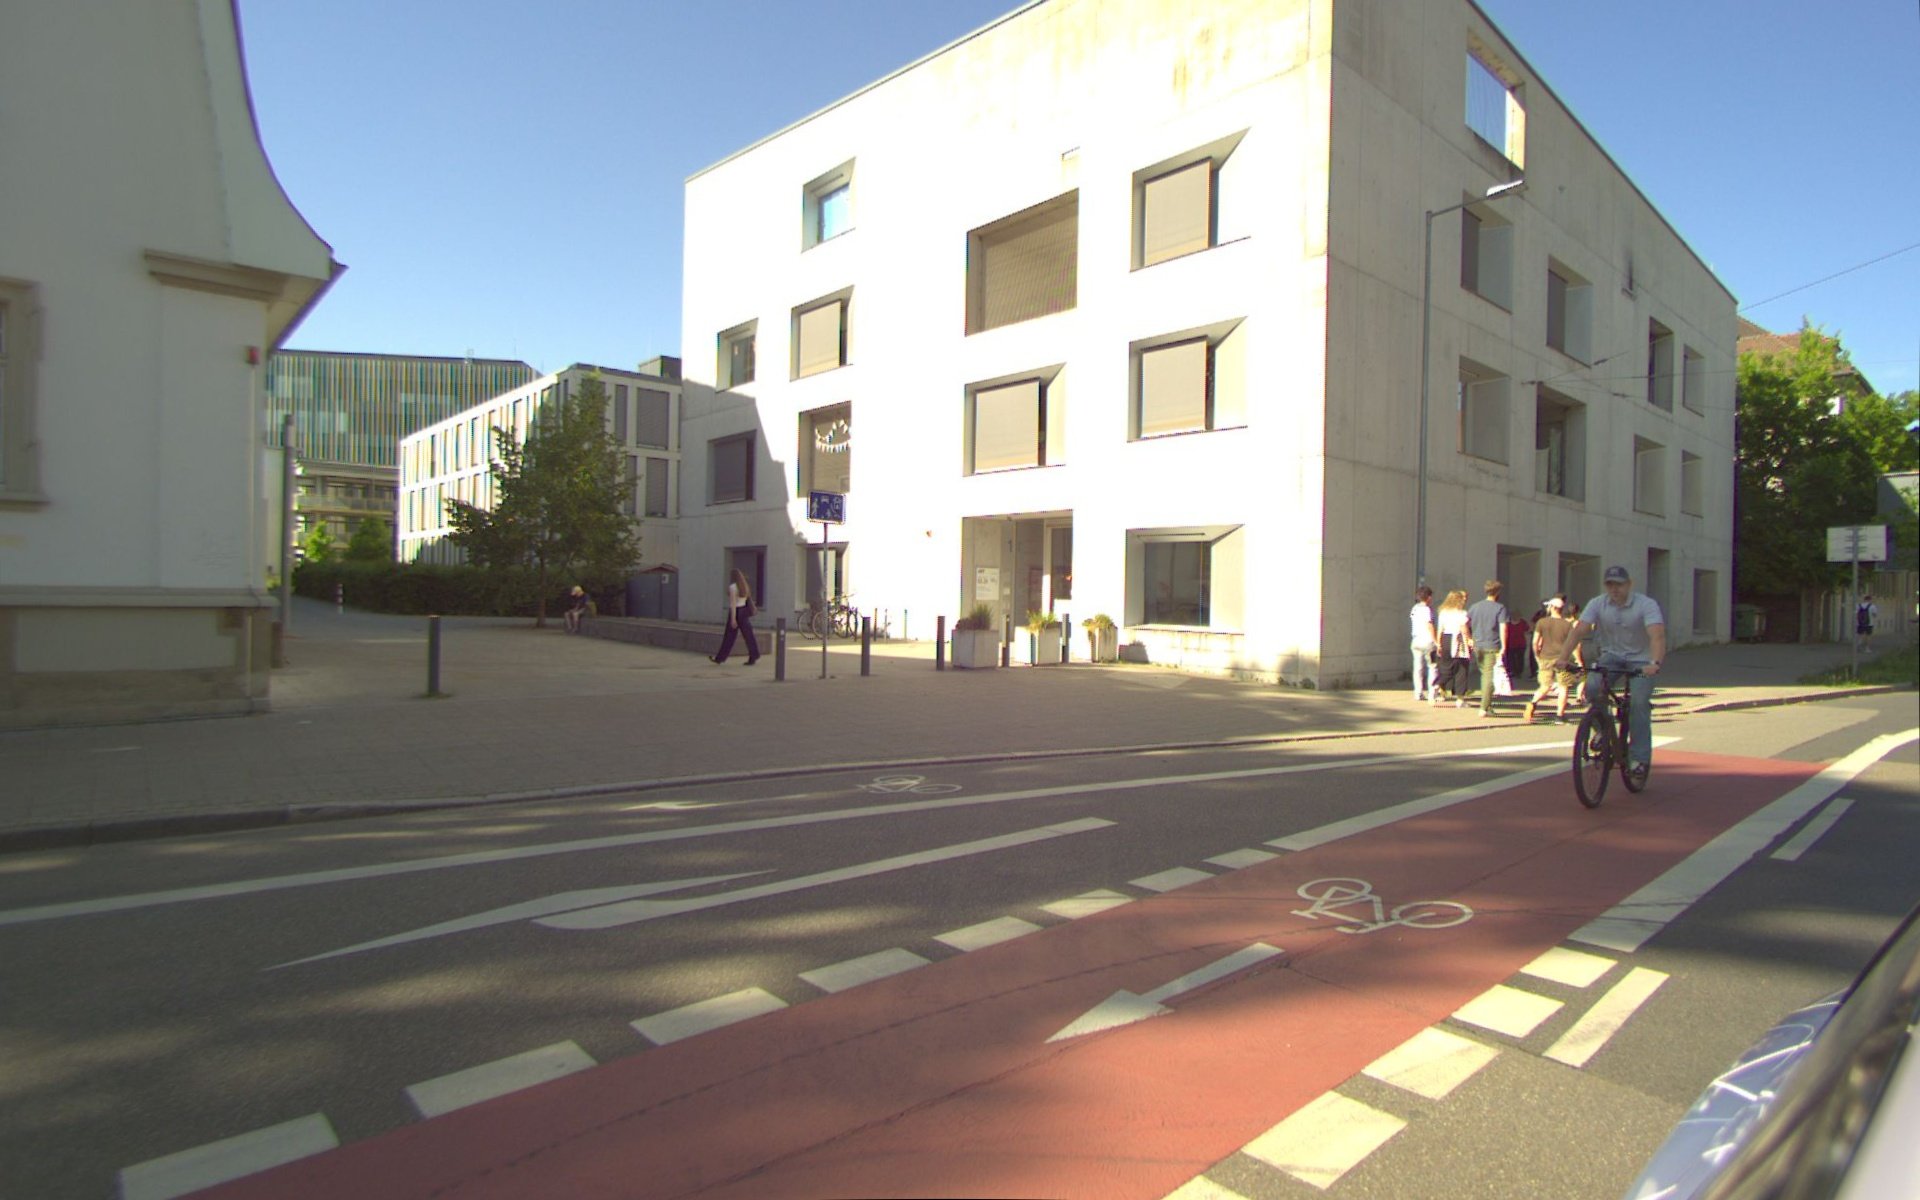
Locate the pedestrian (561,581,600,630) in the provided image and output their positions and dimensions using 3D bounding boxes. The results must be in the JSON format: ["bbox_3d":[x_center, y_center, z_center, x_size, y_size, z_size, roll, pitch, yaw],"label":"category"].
[{"bbox_3d":[-9.609,0.135,25.630,0.640,1.207,0.966,1,1,-40],"label":"pedestrian"}]

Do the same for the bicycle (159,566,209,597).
[{"bbox_3d":[-27.625,-0.662,36.025,1.362,1.029,0.471,2,1,-40],"label":"bicycle"}]

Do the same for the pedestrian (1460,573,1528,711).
[{"bbox_3d":[7.723,0.596,14.640,0.600,1.925,0.521,1,3,-34],"label":"pedestrian"}]

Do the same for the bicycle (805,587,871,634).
[{"bbox_3d":[-2.980,0.243,24.742,1.557,1.108,0.498,0,1,-38],"label":"bicycle"}]

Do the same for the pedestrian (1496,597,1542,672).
[{"bbox_3d":[11.024,0.662,19.951,0.751,1.422,0.519,1,1,-39],"label":"pedestrian"}]

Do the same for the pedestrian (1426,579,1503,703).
[{"bbox_3d":[7.621,0.607,15.319,0.720,1.795,0.531,3,4,-9],"label":"pedestrian"}]

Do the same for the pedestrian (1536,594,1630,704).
[{"bbox_3d":[9.931,0.765,16.143,0.876,1.623,0.833,1,4,-31],"label":"pedestrian"}]

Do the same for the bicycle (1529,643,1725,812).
[{"bbox_3d":[5.304,0.926,7.991,2.073,1.108,0.740,0,-1,-40],"label":"bicycle"}]

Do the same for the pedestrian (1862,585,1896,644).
[{"bbox_3d":[30.120,0.477,33.162,0.939,1.872,0.685,1,2,-43],"label":"pedestrian"}]

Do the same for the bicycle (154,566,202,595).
[{"bbox_3d":[-28.849,-0.717,37.327,1.362,1.029,0.471,2,1,-40],"label":"bicycle"}]

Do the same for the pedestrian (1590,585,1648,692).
[{"bbox_3d":[11.307,0.646,17.364,0.802,1.748,0.496,0,5,-40],"label":"pedestrian"}]

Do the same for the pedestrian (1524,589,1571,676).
[{"bbox_3d":[11.257,0.613,19.392,0.751,1.620,0.519,1,1,-39],"label":"pedestrian"}]

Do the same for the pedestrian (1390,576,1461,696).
[{"bbox_3d":[7.294,0.557,15.880,0.640,1.795,0.613,1,4,-30],"label":"pedestrian"}]

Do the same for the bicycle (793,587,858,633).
[{"bbox_3d":[-3.338,0.237,25.100,1.563,1.108,0.498,-1,1,-38],"label":"bicycle"}]

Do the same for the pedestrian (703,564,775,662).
[{"bbox_3d":[-3.900,0.198,17.845,0.990,1.661,0.846,2,2,44],"label":"pedestrian"}]

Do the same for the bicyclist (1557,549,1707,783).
[{"bbox_3d":[5.315,0.485,8.006,0.954,1.707,0.740,1,-1,-40],"label":"bicyclist"}]

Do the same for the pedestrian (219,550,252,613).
[{"bbox_3d":[-18.991,-0.486,26.530,0.632,1.606,0.926,1,1,-40],"label":"pedestrian"}]

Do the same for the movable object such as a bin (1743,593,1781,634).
[{"bbox_3d":[30.509,0.504,38.513,1.309,1.482,0.934,1,0,-43],"label":"movable object such as a bin"}]

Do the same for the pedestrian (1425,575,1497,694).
[{"bbox_3d":[8.097,0.540,16.356,0.717,1.824,0.660,1,3,-34],"label":"pedestrian"}]

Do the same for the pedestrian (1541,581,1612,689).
[{"bbox_3d":[10.802,0.599,17.728,0.938,1.783,0.649,1,5,-39],"label":"pedestrian"}]

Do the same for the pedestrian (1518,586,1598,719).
[{"bbox_3d":[8.375,0.720,14.187,0.704,1.767,0.609,1,3,-34],"label":"pedestrian"}]

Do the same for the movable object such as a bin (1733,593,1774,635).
[{"bbox_3d":[29.174,0.506,37.200,1.331,1.482,0.935,1,0,-40],"label":"movable object such as a bin"}]
